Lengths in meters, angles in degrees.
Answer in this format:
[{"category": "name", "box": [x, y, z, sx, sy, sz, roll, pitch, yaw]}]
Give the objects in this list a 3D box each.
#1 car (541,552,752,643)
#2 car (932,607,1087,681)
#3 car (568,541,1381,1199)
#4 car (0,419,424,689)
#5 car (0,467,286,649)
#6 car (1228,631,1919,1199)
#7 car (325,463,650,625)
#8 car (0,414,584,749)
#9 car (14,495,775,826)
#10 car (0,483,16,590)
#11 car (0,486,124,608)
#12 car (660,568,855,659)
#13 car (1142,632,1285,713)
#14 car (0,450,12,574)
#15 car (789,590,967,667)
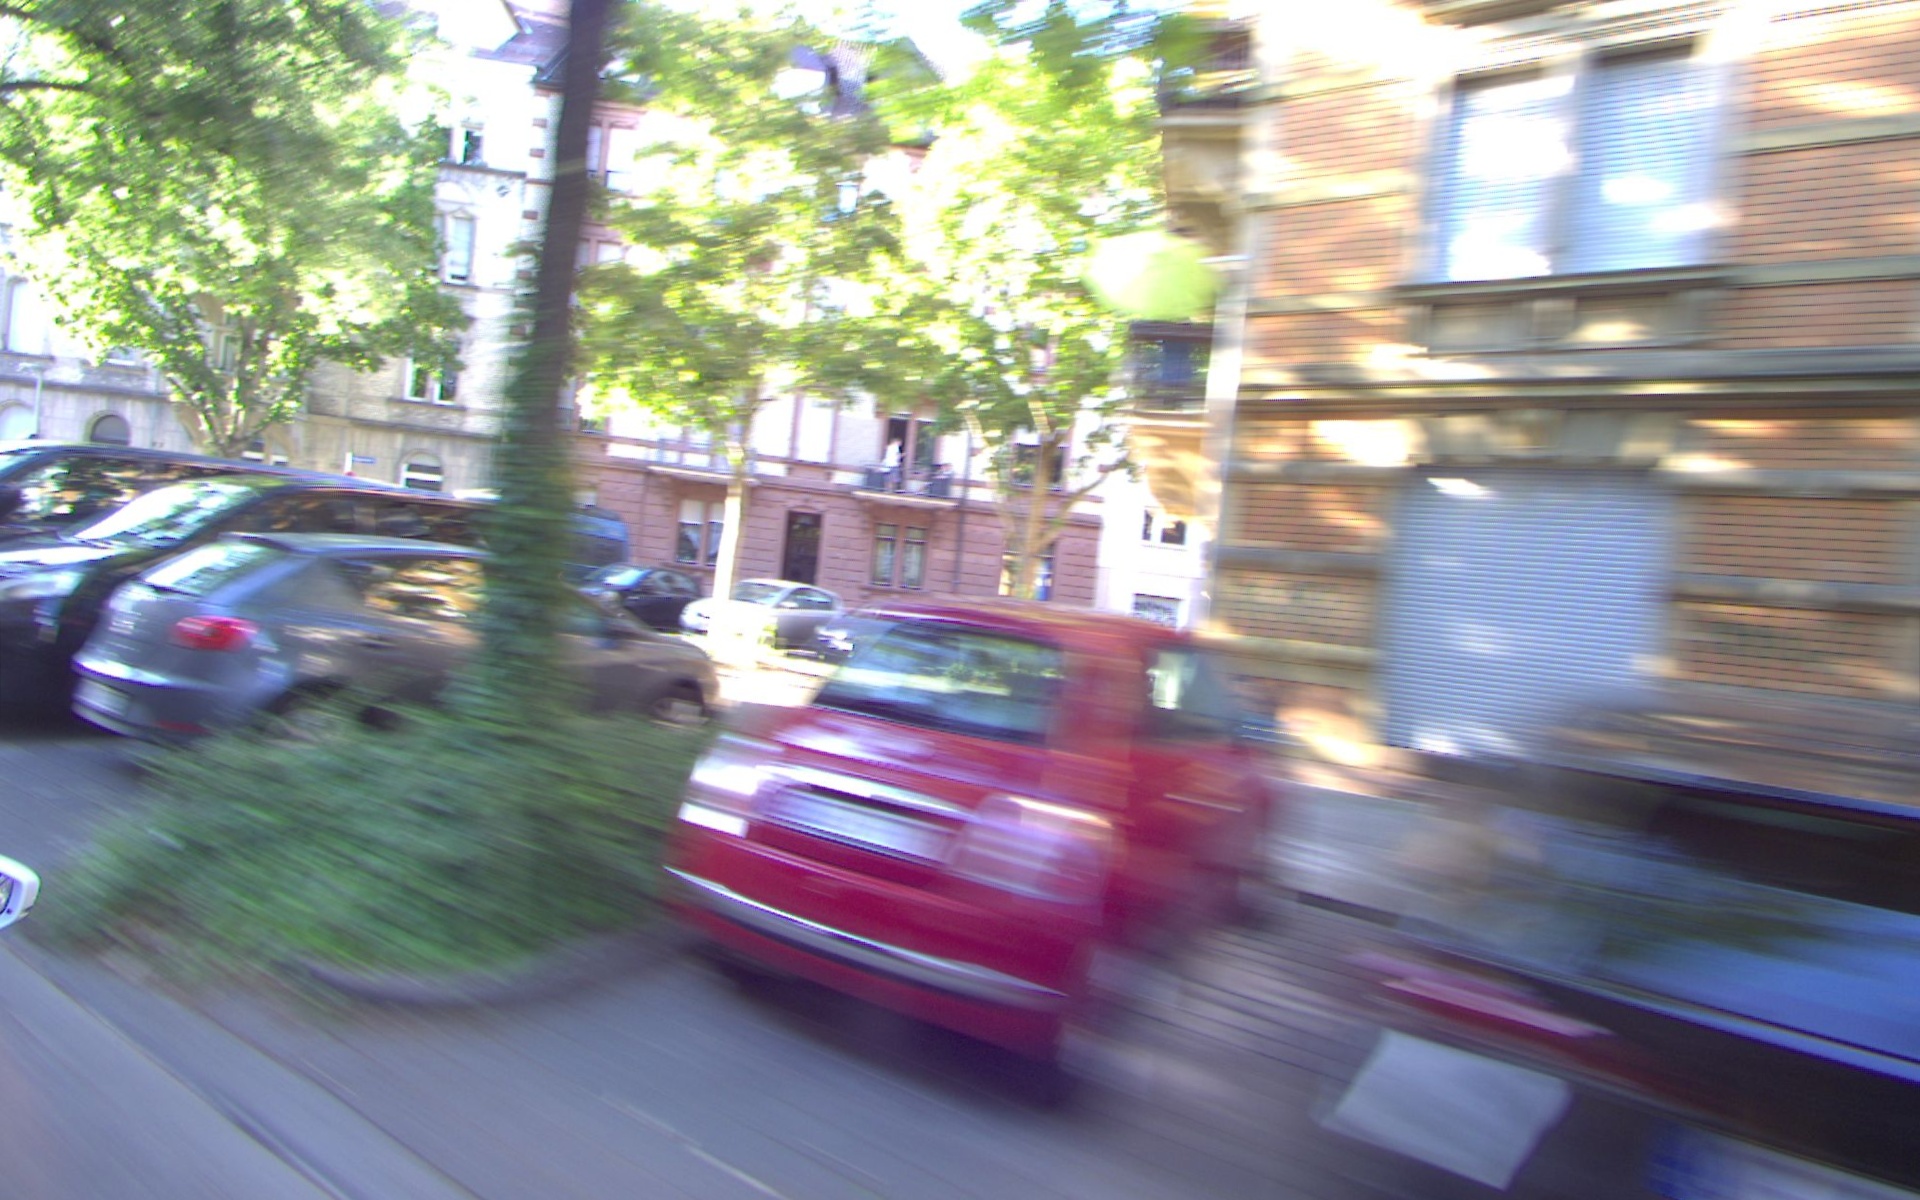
[{"category": "car", "box": [-6.578, 0.024, 21.640, 1.880, 1.523, 4.305, 7, 0, 23]}, {"category": "car", "box": [1.399, 1.266, 29.610, 4.170, 1.601, 1.865, 7, 0, -7]}, {"category": "car", "box": [0.574, 0.771, 4.642, 1.812, 1.516, 4.085, 7, 0, 31]}, {"category": "car", "box": [-7.654, -0.377, 8.975, 1.965, 2.038, 4.623, 7, 0, 28]}, {"category": "car", "box": [-9.799, -0.482, 10.627, 1.769, 1.713, 3.993, 7, 0, 29]}, {"category": "car", "box": [2.373, 1.009, 2.985, 1.901, 1.474, 4.374, 7, 0, 31]}, {"category": "car", "box": [-9.625, -1.009, 21.243, 2.337, 2.568, 5.910, 7, 0, 25]}, {"category": "car", "box": [-5.407, -0.074, 7.919, 1.905, 1.908, 4.277, 7, 0, 27]}, {"category": "car", "box": [-3.409, 0.368, 6.787, 1.860, 1.466, 3.988, 7, 0, 35]}, {"category": "car", "box": [-16.134, -1.165, 14.090, 1.712, 1.615, 3.846, 7, 0, 31]}, {"category": "car", "box": [-13.745, -0.867, 13.180, 1.817, 1.534, 3.846, 7, 0, 31]}, {"category": "car", "box": [-4.203, 0.342, 21.512, 1.830, 1.528, 4.064, 7, -1, 27]}, {"category": "car", "box": [5.654, 1.567, 22.015, 1.820, 1.389, 4.403, 7, 0, 30]}, {"category": "car", "box": [-18.308, -1.727, 15.444, 2.070, 2.122, 4.980, 7, 0, 31]}, {"category": "car", "box": [-1.619, 0.660, 21.461, 1.830, 1.292, 4.063, 7, 0, 27]}]
